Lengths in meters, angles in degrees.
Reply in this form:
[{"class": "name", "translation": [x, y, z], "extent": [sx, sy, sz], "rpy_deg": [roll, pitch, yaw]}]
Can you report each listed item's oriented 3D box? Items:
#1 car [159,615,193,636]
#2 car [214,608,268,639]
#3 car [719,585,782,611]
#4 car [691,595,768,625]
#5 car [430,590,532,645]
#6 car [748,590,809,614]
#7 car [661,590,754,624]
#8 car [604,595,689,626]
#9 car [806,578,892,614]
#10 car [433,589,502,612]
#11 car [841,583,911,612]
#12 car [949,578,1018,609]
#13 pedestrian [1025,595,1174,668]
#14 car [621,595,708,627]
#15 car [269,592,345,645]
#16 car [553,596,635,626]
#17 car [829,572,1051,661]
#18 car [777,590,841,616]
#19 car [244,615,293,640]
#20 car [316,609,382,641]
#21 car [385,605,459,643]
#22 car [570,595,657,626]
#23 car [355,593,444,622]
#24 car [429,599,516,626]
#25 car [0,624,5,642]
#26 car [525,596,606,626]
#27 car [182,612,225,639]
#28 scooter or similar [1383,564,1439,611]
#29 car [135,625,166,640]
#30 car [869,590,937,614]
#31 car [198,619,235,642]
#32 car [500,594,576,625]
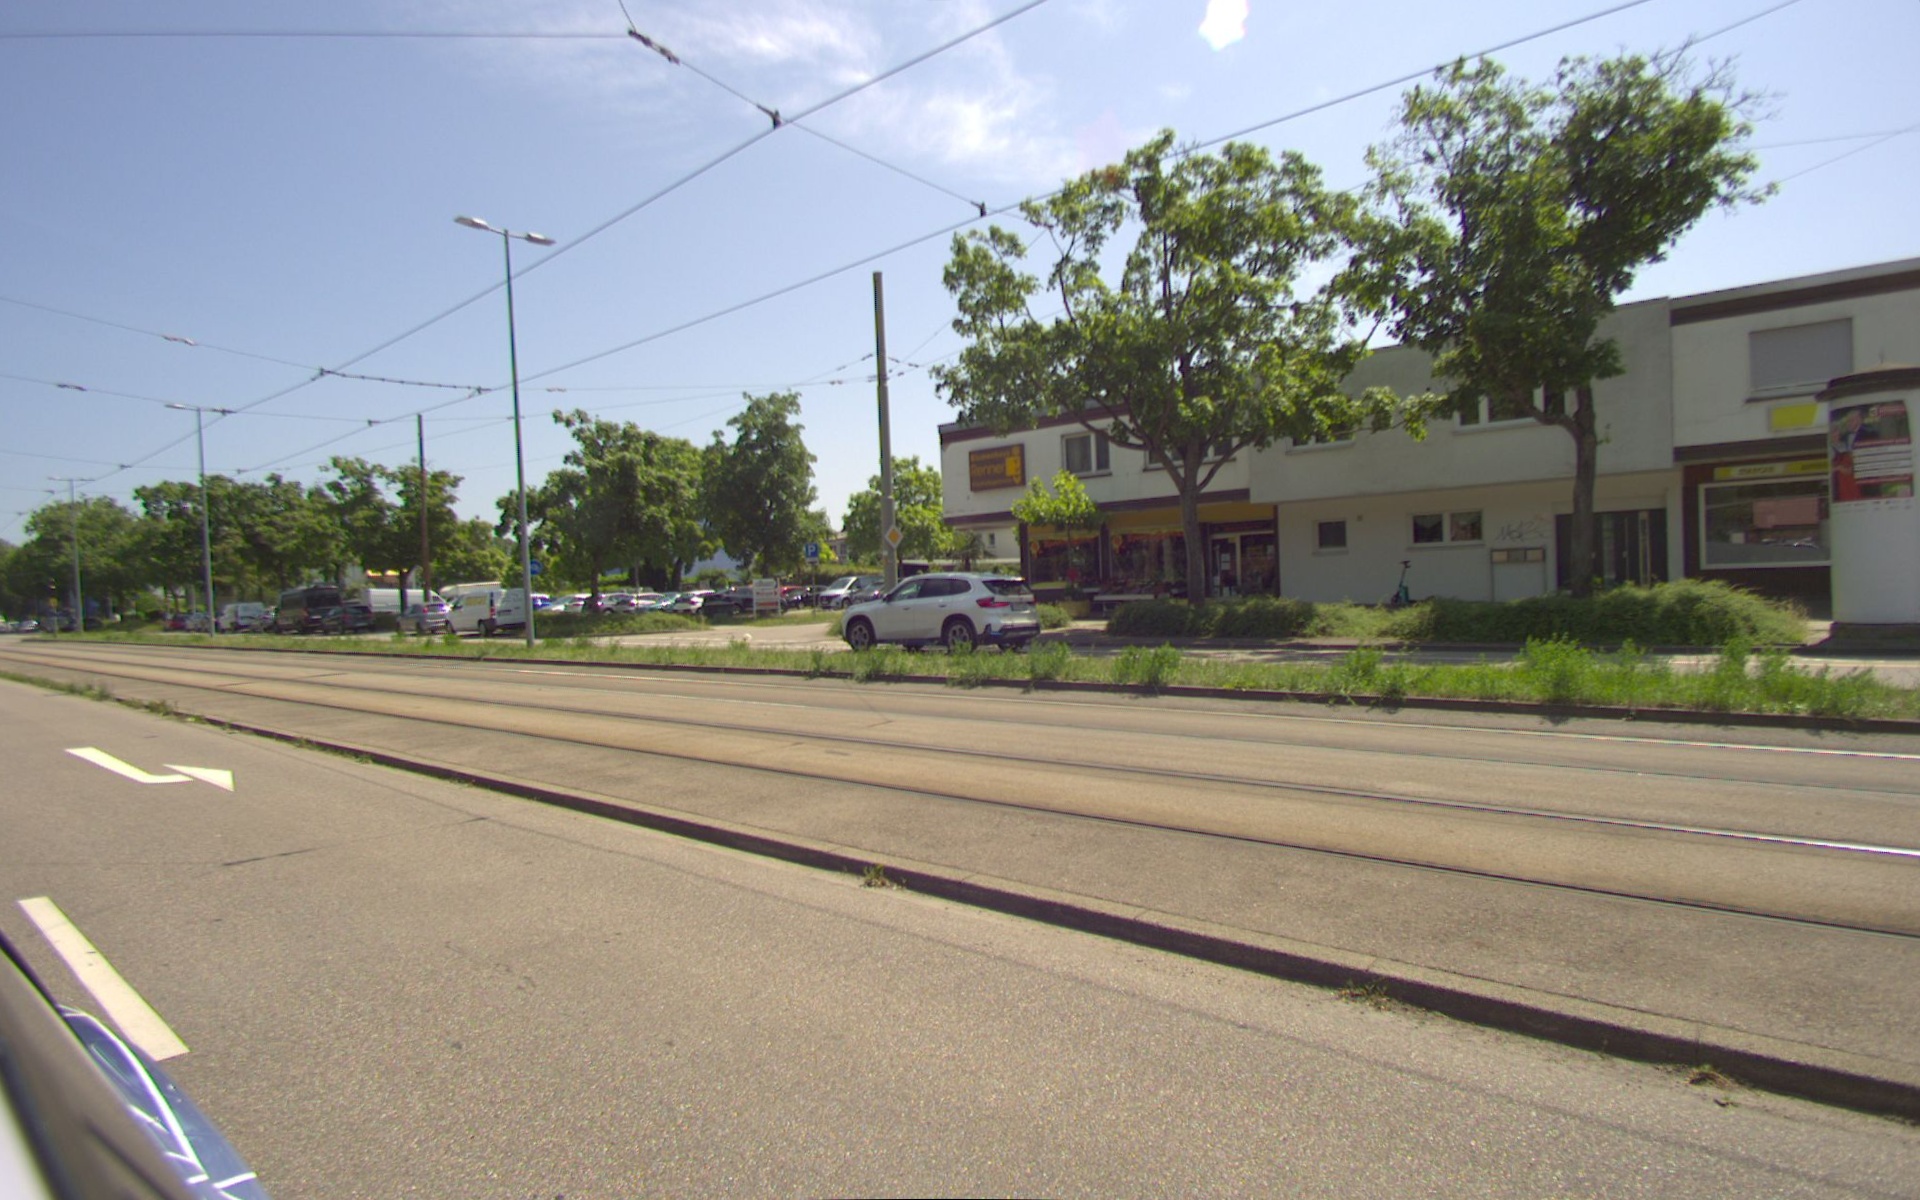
[{"class": "car", "translation": [-60.144, 1.923, 77.614], "extent": [3.423, 1.491, 1.561], "rpy_deg": [-1, 0, 43]}, {"class": "car", "translation": [-47.412, 1.535, 66.719], "extent": [4.816, 1.963, 1.899], "rpy_deg": [-1, 0, 42]}, {"class": "car", "translation": [-14.073, -0.149, 68.267], "extent": [1.689, 1.665, 4.082], "rpy_deg": [-2, 0, 35]}, {"class": "car", "translation": [-11.017, 0.459, 48.447], "extent": [1.639, 1.241, 3.386], "rpy_deg": [-2, 1, 34]}, {"class": "car", "translation": [-20.276, 0.734, 42.731], "extent": [5.342, 2.025, 1.856], "rpy_deg": [-1, 4, 42]}, {"class": "car", "translation": [-12.024, 0.134, 67.149], "extent": [1.712, 1.505, 3.953], "rpy_deg": [-1, 0, 35]}, {"class": "car", "translation": [-12.589, 0.353, 50.574], "extent": [1.983, 1.501, 4.120], "rpy_deg": [-2, 1, 39]}, {"class": "car", "translation": [-16.612, 0.533, 53.765], "extent": [1.855, 1.501, 4.099], "rpy_deg": [-1, 0, 34]}, {"class": "car", "translation": [-6.709, -0.264, 61.468], "extent": [2.225, 2.085, 5.055], "rpy_deg": [-1, 0, 41]}, {"class": "car", "translation": [-47.707, 0.032, 98.172], "extent": [2.145, 2.078, 5.674], "rpy_deg": [-1, 0, 38]}, {"class": "car", "translation": [-4.929, -0.162, 59.819], "extent": [1.804, 1.669, 3.943], "rpy_deg": [-1, 0, 43]}, {"class": "car", "translation": [1.301, -0.374, 54.563], "extent": [1.520, 1.591, 3.943], "rpy_deg": [-1, 0, 43]}, {"class": "pedestrian", "translation": [4.163, 0.908, 30.404], "extent": [3.997, 2.029, 1.973], "rpy_deg": [-1, 0, 40]}, {"class": "car", "translation": [-15.081, 0.546, 51.768], "extent": [1.908, 1.501, 3.995], "rpy_deg": [-1, 0, 34]}, {"class": "car", "translation": [-37.090, 1.023, 57.423], "extent": [5.666, 2.859, 2.214], "rpy_deg": [-1, 0, 42]}, {"class": "car", "translation": [-20.637, 0.581, 57.122], "extent": [1.827, 1.501, 4.030], "rpy_deg": [-2, 1, 34]}, {"class": "car", "translation": [-0.505, 0.304, 20.514], "extent": [4.569, 1.622, 1.705], "rpy_deg": [-1, 0, 43]}, {"class": "car", "translation": [-9.637, 0.153, 64.940], "extent": [1.683, 1.597, 3.948], "rpy_deg": [-1, 0, 39]}, {"class": "car", "translation": [-42.976, 1.681, 62.901], "extent": [3.608, 1.475, 1.744], "rpy_deg": [-1, 0, 42]}, {"class": "car", "translation": [-32.216, 1.302, 53.319], "extent": [3.751, 1.589, 1.950], "rpy_deg": [-1, 0, 42]}, {"class": "car", "translation": [-24.952, 1.096, 46.885], "extent": [4.124, 1.513, 1.633], "rpy_deg": [-1, 4, 42]}, {"class": "car", "translation": [-18.764, 0.551, 54.951], "extent": [2.018, 1.501, 4.117], "rpy_deg": [-2, 1, 34]}, {"class": "car", "translation": [-41.243, 0.531, 74.584], "extent": [2.029, 1.970, 5.363], "rpy_deg": [-1, 0, 42]}, {"class": "car", "translation": [-32.683, 0.837, 67.935], "extent": [1.997, 1.588, 4.867], "rpy_deg": [-2, 1, 38]}, {"class": "car", "translation": [-109.925, 3.721, 114.747], "extent": [4.208, 2.005, 1.799], "rpy_deg": [-1, 0, 38]}, {"class": "car", "translation": [-22.749, 0.620, 58.481], "extent": [1.862, 1.499, 3.955], "rpy_deg": [-2, 1, 34]}, {"class": "car", "translation": [-55.017, 1.820, 73.564], "extent": [4.494, 1.907, 1.614], "rpy_deg": [-1, 0, 41]}, {"class": "scooter or similar", "translation": [12.025, -0.324, 26.983], "extent": [0.448, 1.200, 1.349], "rpy_deg": [-1, 0, -29]}, {"class": "car", "translation": [-68.806, 2.746, 85.997], "extent": [3.423, 1.167, 1.561], "rpy_deg": [-1, 0, 43]}, {"class": "car", "translation": [-3.203, 0.078, 57.665], "extent": [1.764, 1.294, 3.675], "rpy_deg": [-1, 0, 43]}, {"class": "car", "translation": [-51.578, 2.085, 70.173], "extent": [3.261, 1.489, 1.411], "rpy_deg": [-1, 0, 41]}, {"class": "car", "translation": [-26.157, 0.568, 62.848], "extent": [1.794, 1.730, 3.951], "rpy_deg": [-2, 1, 37]}]
